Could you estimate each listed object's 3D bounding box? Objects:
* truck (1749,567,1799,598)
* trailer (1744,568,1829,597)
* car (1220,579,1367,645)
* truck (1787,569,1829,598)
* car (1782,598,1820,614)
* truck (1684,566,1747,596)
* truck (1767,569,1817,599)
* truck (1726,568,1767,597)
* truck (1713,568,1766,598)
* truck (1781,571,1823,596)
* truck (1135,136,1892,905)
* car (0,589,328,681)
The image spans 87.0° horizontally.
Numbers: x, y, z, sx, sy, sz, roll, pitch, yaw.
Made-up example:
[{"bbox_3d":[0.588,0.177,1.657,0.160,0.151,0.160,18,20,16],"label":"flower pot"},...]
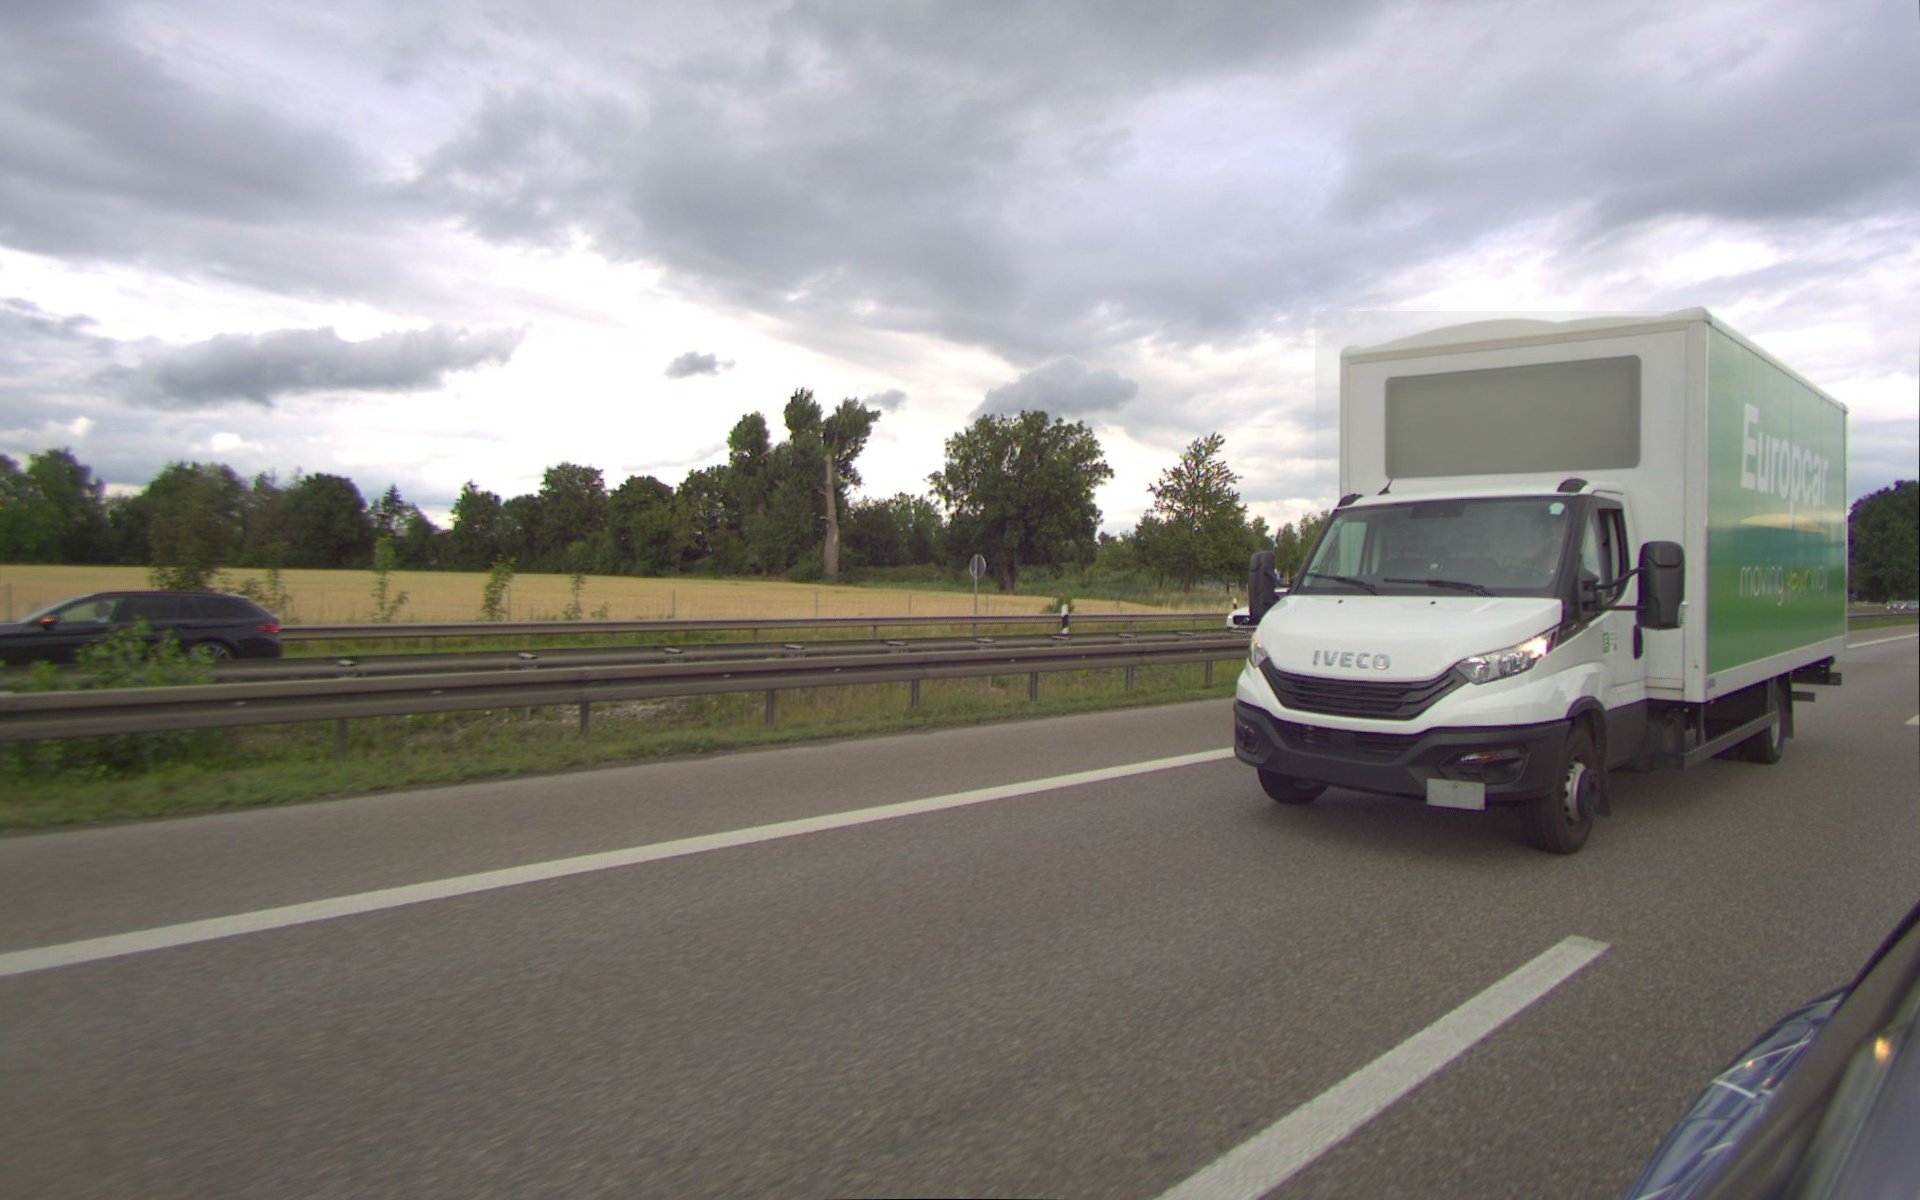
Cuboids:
[{"bbox_3d":[124.875,-2.609,155.417,3.113,4.614,6.076,0,0,6],"label":"truck"},{"bbox_3d":[139.674,-2.907,171.434,2.814,4.737,15.787,0,0,5],"label":"trailer"},{"bbox_3d":[10.004,0.315,30.150,4.977,1.778,1.831,0,2,-41],"label":"car"},{"bbox_3d":[139.179,-2.640,166.150,2.827,4.683,5.165,0,0,5],"label":"truck"},{"bbox_3d":[67.345,0.480,81.050,3.484,1.274,1.795,-1,0,-41],"label":"car"},{"bbox_3d":[105.442,-2.614,141.413,3.486,4.136,7.643,0,0,6],"label":"truck"},{"bbox_3d":[130.163,-2.526,158.410,3.007,4.614,6.077,0,0,6],"label":"truck"},{"bbox_3d":[115.936,-2.527,149.318,2.651,4.107,4.787,0,0,8],"label":"truck"},{"bbox_3d":[112.388,-2.418,145.971,2.836,4.187,6.959,0,0,7],"label":"truck"},{"bbox_3d":[143.646,-2.772,172.684,2.623,4.201,5.920,0,0,6],"label":"truck"},{"bbox_3d":[5.431,-0.394,8.658,8.903,3.549,2.775,0,0,-41],"label":"truck"},{"bbox_3d":[-13.465,0.493,16.072,5.614,1.333,1.831,0,0,-41],"label":"car"}]
